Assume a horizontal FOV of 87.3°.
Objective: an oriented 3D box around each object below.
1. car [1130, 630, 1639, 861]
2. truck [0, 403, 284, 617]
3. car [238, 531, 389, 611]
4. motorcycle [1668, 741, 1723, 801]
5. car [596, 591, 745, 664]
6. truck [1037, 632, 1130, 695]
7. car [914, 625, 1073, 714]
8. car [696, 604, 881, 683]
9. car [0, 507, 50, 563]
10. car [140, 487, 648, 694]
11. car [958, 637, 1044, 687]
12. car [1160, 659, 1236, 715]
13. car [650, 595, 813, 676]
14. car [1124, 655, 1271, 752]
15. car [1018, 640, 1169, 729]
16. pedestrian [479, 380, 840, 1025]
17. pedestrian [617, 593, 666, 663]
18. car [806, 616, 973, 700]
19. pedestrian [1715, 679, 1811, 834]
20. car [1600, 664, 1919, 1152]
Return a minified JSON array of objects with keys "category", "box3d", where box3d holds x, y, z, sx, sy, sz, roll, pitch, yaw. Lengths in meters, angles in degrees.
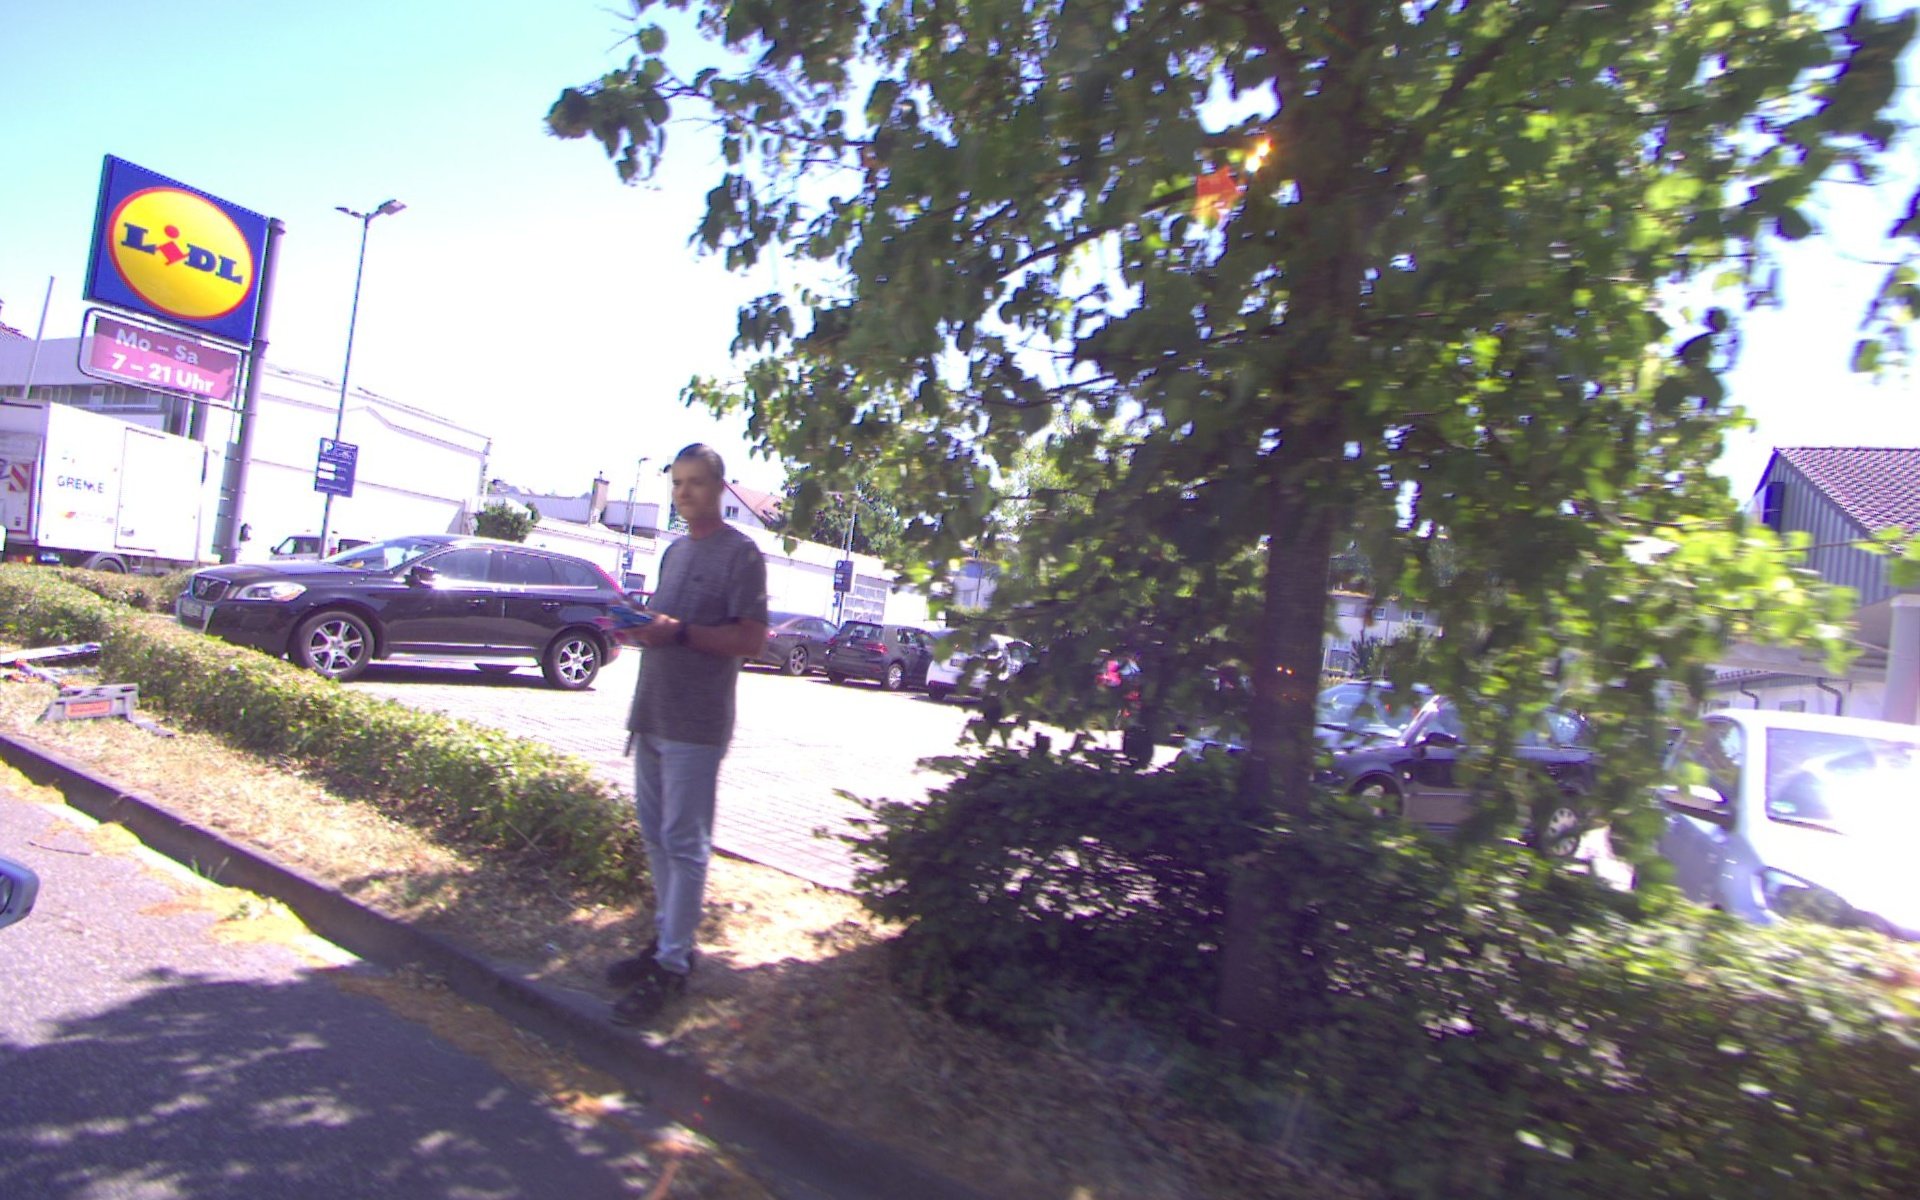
[{"category":"car","box3d":[3.841,1.316,9.013,4.249,1.520,1.736,9,-3,-25]},{"category":"truck","box3d":[-15.136,-1.396,17.789,2.379,2.982,5.954,7,-2,-5]},{"category":"car","box3d":[-19.325,-0.861,30.060,4.182,1.912,1.711,5,-2,26]},{"category":"motorcycle","box3d":[15.705,3.653,21.468,1.475,1.184,0.396,8,-2,-34]},{"category":"car","box3d":[-7.891,0.808,27.805,1.622,1.548,4.003,6,-4,24]},{"category":"truck","box3d":[5.930,3.065,47.616,2.143,2.484,5.483,5,-4,31]},{"category":"car","box3d":[0.811,1.545,21.652,1.788,1.520,3.733,6,-3,29]},{"category":"car","box3d":[-3.856,1.058,23.402,1.869,1.407,4.253,5,-3,30]},{"category":"car","box3d":[-32.550,-2.353,32.414,1.974,1.660,4.573,4,-3,44]},{"category":"car","box3d":[-6.042,0.031,11.357,1.864,1.686,4.522,6,-3,33]},{"category":"car","box3d":[1.710,2.530,40.752,1.625,1.667,3.868,5,-3,33]},{"category":"car","box3d":[8.923,3.268,37.482,1.745,1.811,3.999,5,-3,27]},{"category":"car","box3d":[-5.734,0.961,25.755,1.777,1.579,4.034,5,-4,28]},{"category":"car","box3d":[4.520,1.946,18.767,1.643,1.432,3.607,6,-3,29]},{"category":"car","box3d":[2.815,1.778,20.543,1.716,1.474,3.607,6,-3,29]},{"category":"pedestrian","box3d":[-0.961,0.302,3.288,0.611,1.809,0.729,5,-2,38]},{"category":"pedestrian","box3d":[-7.785,0.697,24.601,0.695,1.610,0.679,5,-2,30]},{"category":"car","box3d":[-1.494,1.371,22.822,1.699,1.493,4.029,5,-4,30]},{"category":"pedestrian","box3d":[11.406,2.197,14.313,0.790,2.037,0.784,5,-2,28]},{"category":"car","box3d":[4.191,1.199,4.637,1.554,1.524,3.408,6,-2,26]}]
